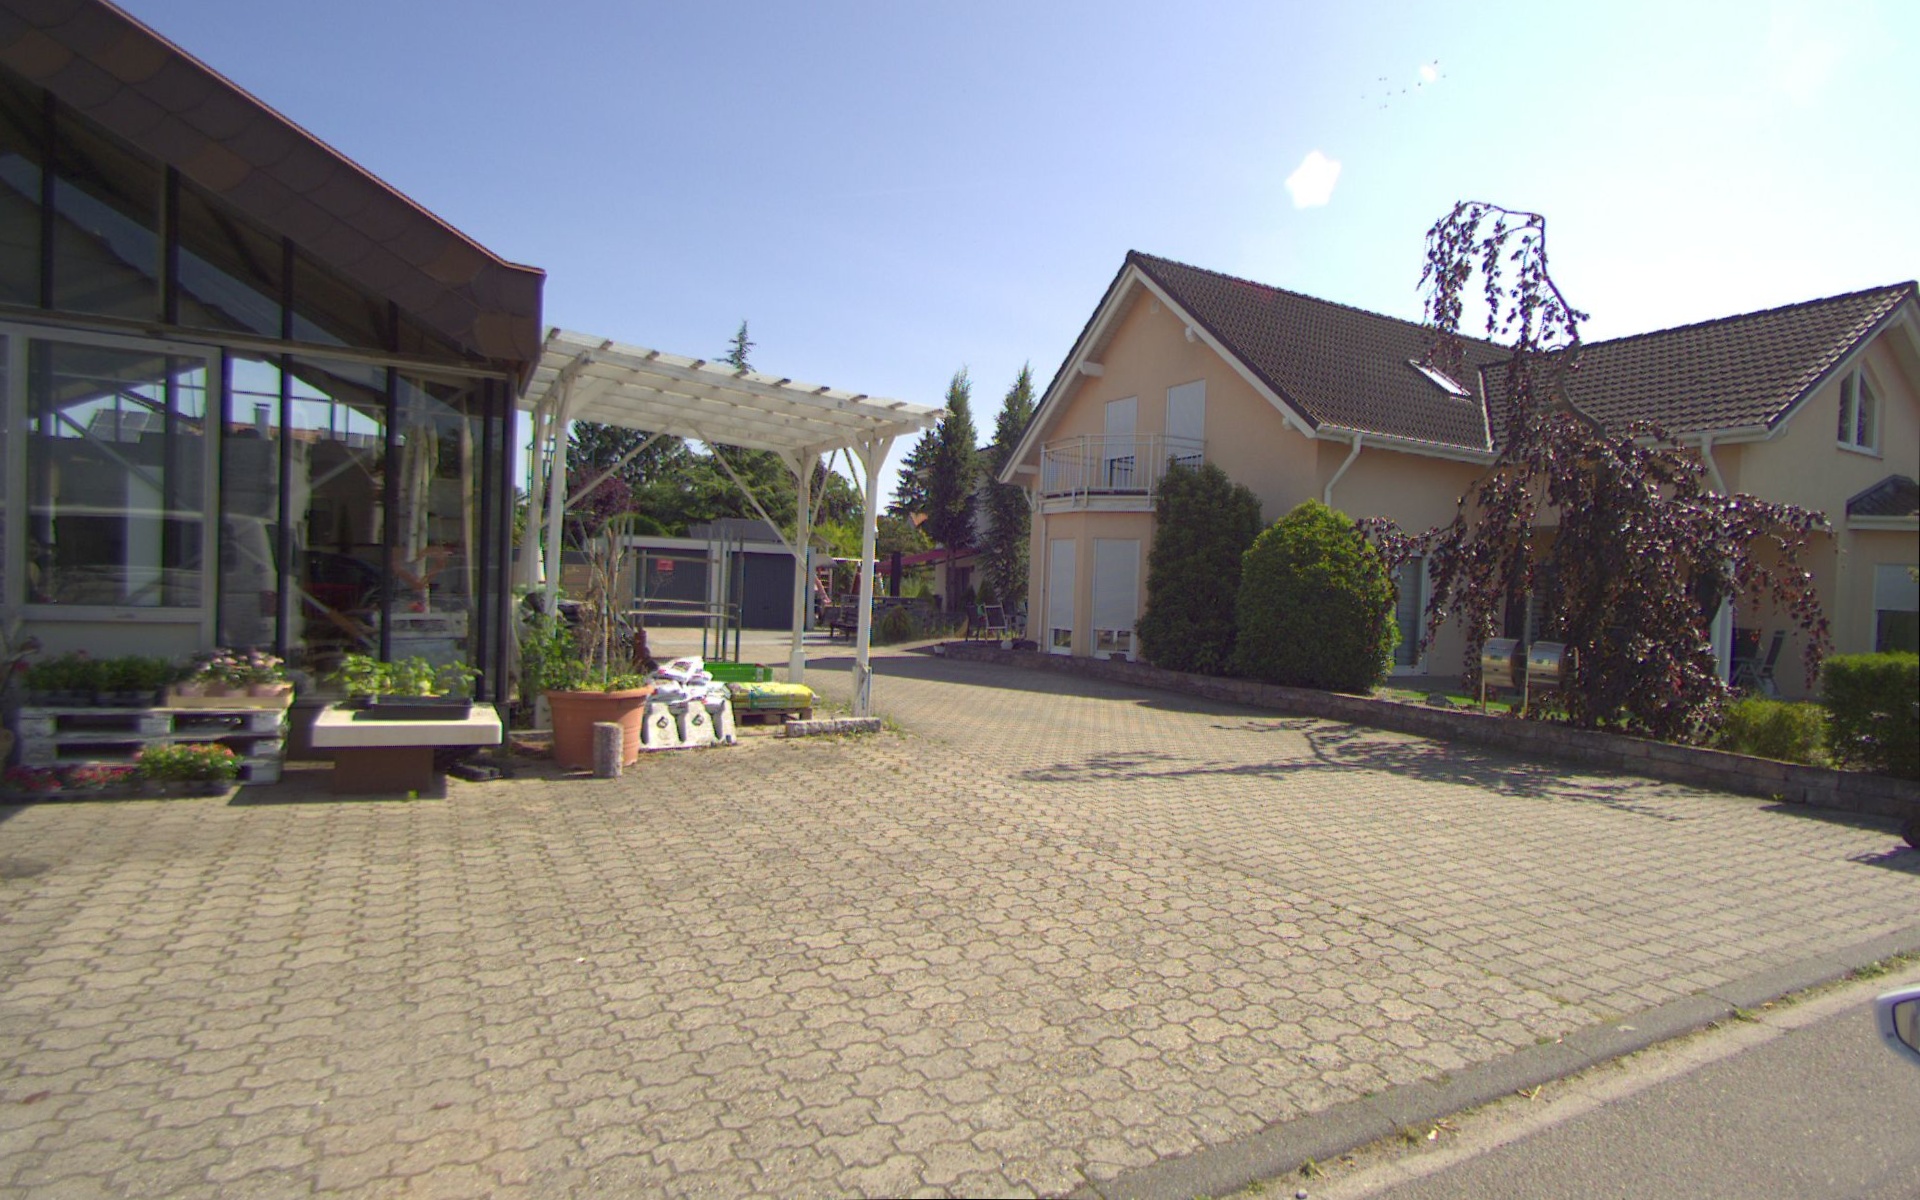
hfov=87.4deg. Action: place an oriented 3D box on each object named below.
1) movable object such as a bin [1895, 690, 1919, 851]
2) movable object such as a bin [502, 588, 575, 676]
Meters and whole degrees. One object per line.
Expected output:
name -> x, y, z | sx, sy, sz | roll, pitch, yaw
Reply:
movable object such as a bin -> 6.558, 1.136, 6.581 | 0.442, 1.038, 0.492 | 1, 1, -28
movable object such as a bin -> -5.488, 0.404, 13.072 | 0.708, 1.082, 0.801 | 1, 1, -35
